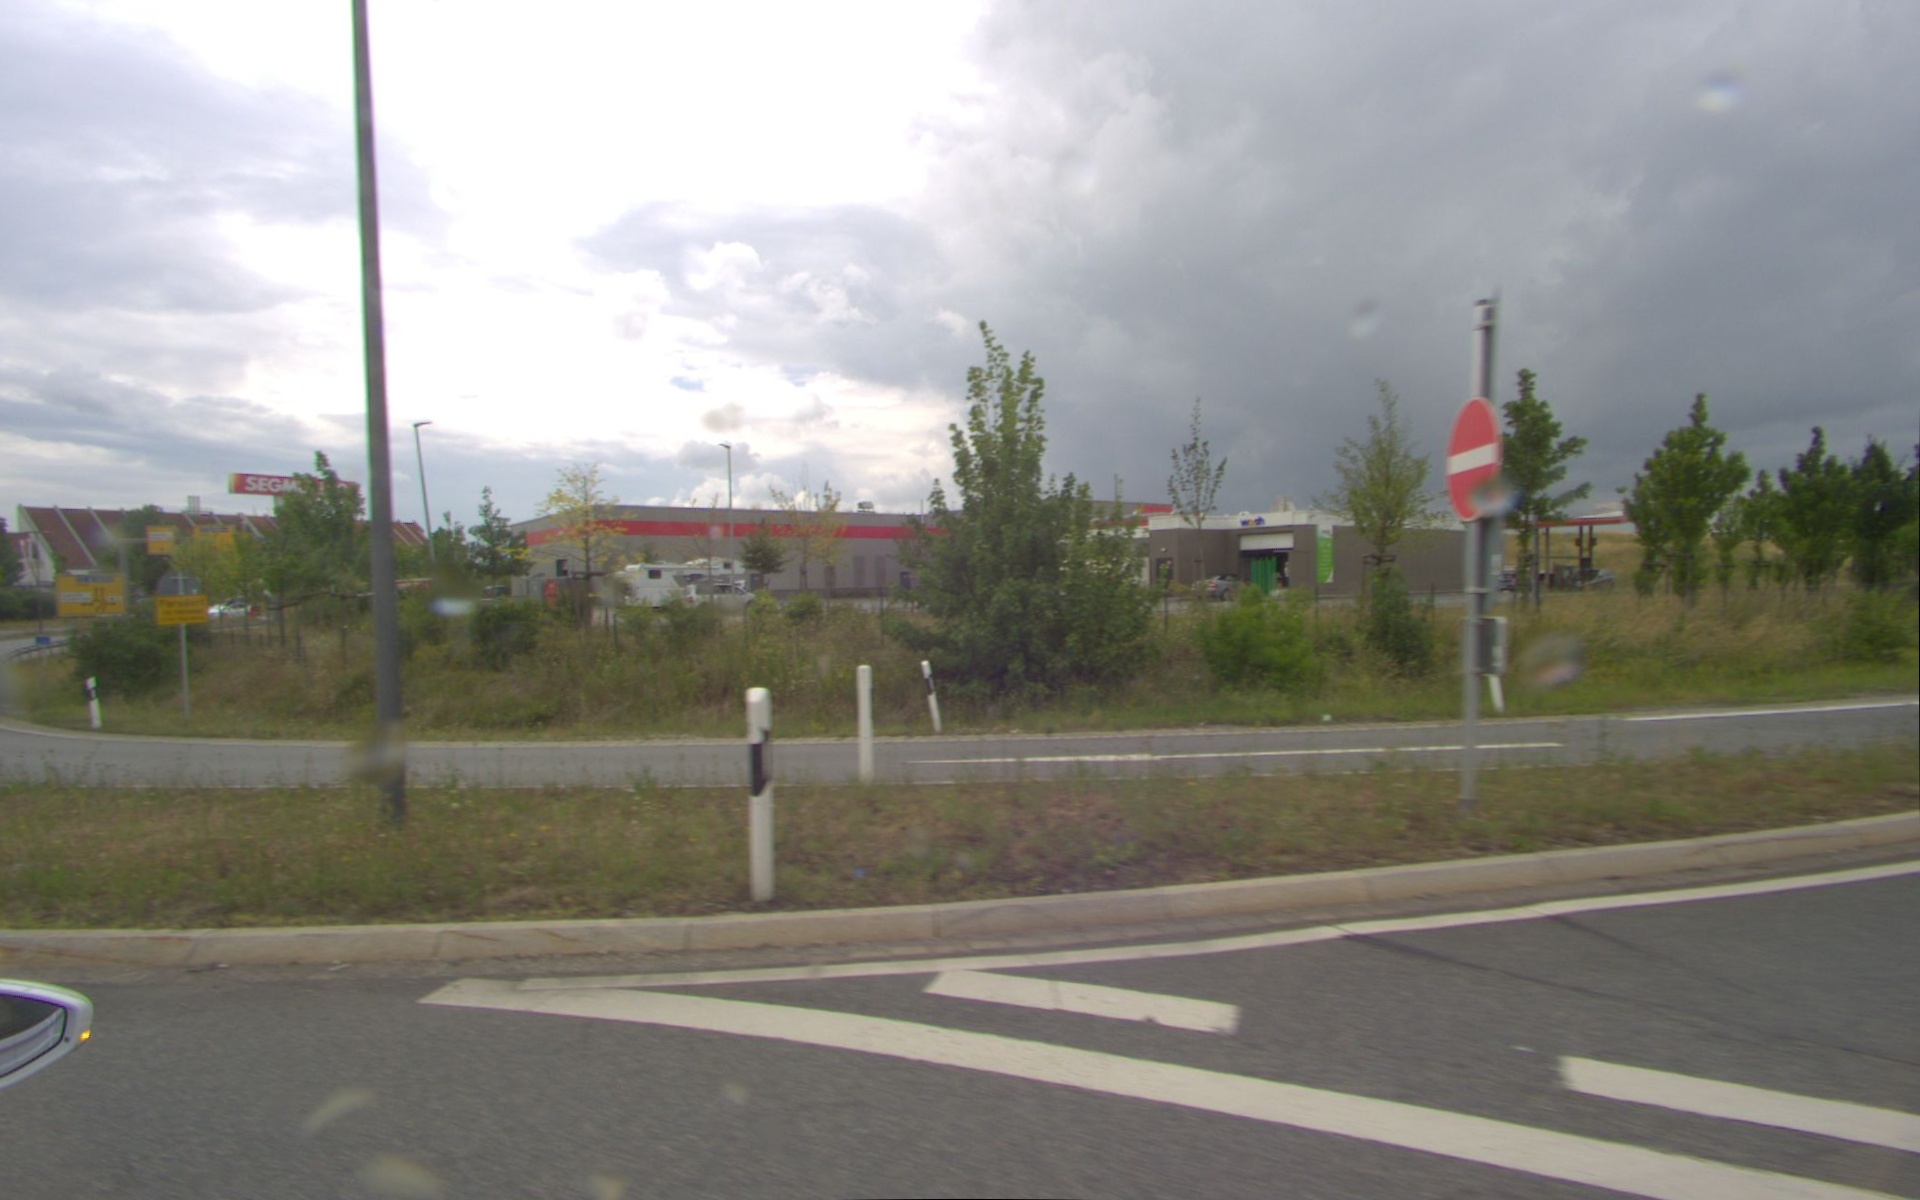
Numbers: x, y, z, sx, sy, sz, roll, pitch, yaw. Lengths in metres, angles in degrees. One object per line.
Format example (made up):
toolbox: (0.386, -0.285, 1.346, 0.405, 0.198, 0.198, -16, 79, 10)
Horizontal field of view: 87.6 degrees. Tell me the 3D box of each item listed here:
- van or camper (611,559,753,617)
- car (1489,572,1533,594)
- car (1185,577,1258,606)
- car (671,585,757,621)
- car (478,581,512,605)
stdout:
van or camper: (-16.198, -0.780, 58.729, 7.645, 3.222, 2.472, -2, 2, -38)
car: (40.570, -1.240, 73.721, 3.623, 1.558, 1.784, -1, 0, -42)
car: (13.571, -0.427, 51.807, 3.954, 1.450, 1.656, -1, 0, -40)
car: (-12.971, 0.161, 52.781, 4.007, 1.743, 1.769, -2, 1, -34)
car: (-39.537, -0.586, 85.134, 1.684, 1.836, 3.939, -5, 3, -38)
